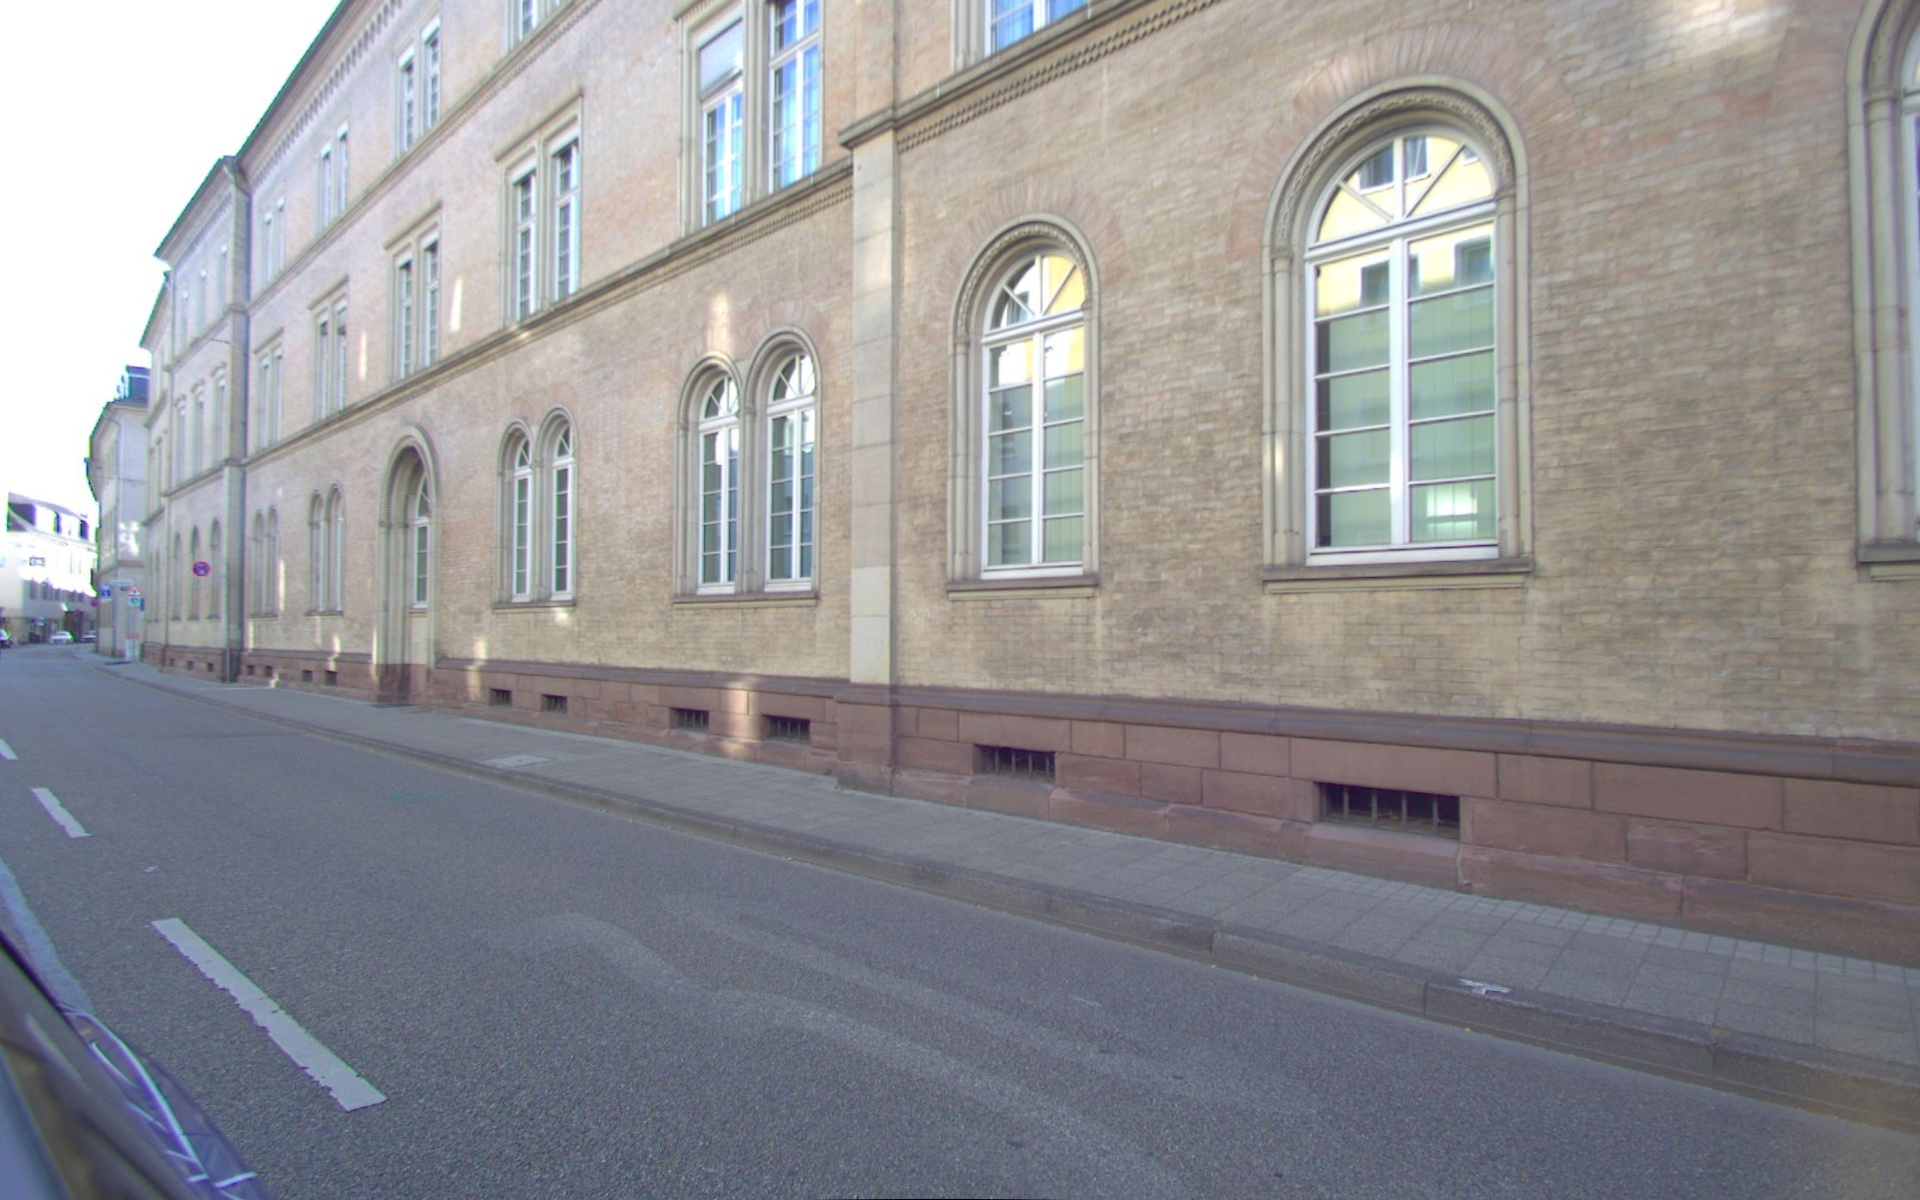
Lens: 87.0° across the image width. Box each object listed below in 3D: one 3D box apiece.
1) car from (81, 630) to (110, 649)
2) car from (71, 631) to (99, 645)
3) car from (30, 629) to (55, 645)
[{"bbox_3d":[-80.097,3.672,93.810,1.638,1.737,3.748,1,-2,-36],"label":"car"},{"bbox_3d":[-109.367,4.765,126.537,1.896,1.737,4.242,1,-2,-31],"label":"car"},{"bbox_3d":[-102.430,4.103,113.020,1.511,1.737,3.749,1,-2,-34],"label":"car"}]
